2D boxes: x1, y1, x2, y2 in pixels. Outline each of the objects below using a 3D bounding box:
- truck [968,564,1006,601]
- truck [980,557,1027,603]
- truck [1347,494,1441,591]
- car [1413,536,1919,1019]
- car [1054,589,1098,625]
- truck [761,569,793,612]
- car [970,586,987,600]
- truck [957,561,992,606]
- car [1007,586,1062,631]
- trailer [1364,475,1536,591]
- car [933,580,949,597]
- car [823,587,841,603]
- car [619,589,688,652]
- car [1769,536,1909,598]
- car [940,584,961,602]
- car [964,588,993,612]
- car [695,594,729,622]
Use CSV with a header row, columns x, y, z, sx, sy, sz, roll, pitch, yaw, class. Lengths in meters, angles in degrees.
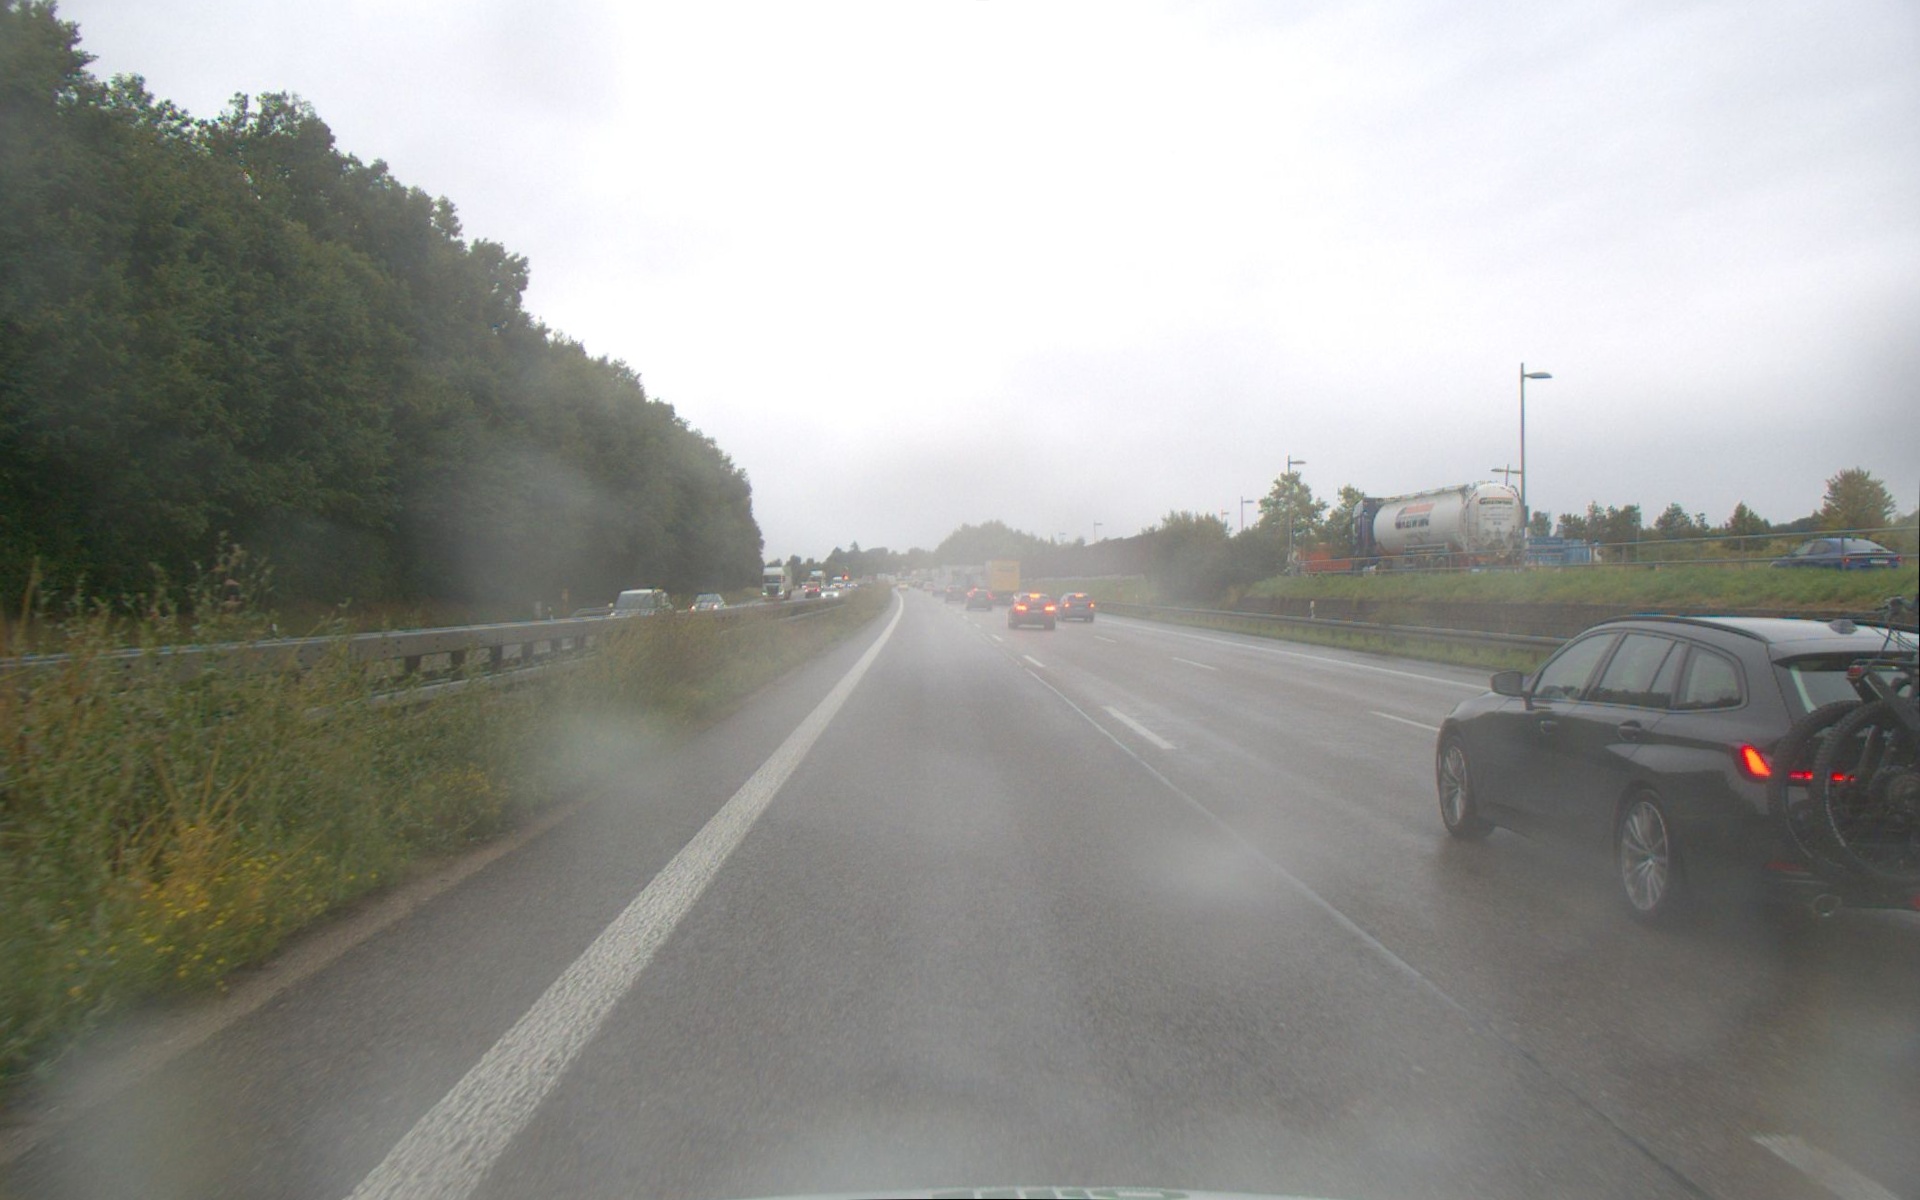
x,y,z,sx,sy,sz,roll,pitch,yaw,class
3.025,-1.937,189.152,3.844,4.051,12.237,-1,0,-1,truck
4.011,-1.848,156.411,3.844,4.051,12.237,-1,0,-1,truck
19.532,-2.523,74.706,2.889,4.218,4.921,-1,0,-1,truck
4.166,0.660,8.626,2.016,1.700,5.520,1,0,-1,car
6.041,0.349,86.451,1.953,1.791,3.999,-1,0,-1,car
-21.984,-1.091,199.199,2.930,5.023,9.480,-1,0,-1,truck
2.267,-0.879,202.468,1.953,1.657,3.999,-1,0,-1,car
1.810,-2.172,218.024,4.200,5.665,12.237,-1,0,-1,truck
3.032,0.335,68.009,1.953,1.791,3.999,-1,0,-1,car
19.653,-2.515,67.480,2.924,4.229,12.953,-1,0,-1,trailer
-2.493,-1.504,215.649,1.953,2.244,3.999,-1,0,-1,car
-13.206,-0.520,170.495,1.571,1.611,3.571,-1,0,-1,car
-9.788,0.634,53.069,1.571,1.917,3.571,-1,0,-1,car
24.640,-0.903,46.514,1.751,1.653,3.999,-1,0,-1,car
-0.910,-0.619,156.727,1.953,1.657,3.999,-1,0,-1,car
1.295,0.018,118.716,1.953,1.657,3.999,-1,0,-1,car
-14.908,0.468,99.530,1.571,1.579,3.571,-1,0,-1,car
